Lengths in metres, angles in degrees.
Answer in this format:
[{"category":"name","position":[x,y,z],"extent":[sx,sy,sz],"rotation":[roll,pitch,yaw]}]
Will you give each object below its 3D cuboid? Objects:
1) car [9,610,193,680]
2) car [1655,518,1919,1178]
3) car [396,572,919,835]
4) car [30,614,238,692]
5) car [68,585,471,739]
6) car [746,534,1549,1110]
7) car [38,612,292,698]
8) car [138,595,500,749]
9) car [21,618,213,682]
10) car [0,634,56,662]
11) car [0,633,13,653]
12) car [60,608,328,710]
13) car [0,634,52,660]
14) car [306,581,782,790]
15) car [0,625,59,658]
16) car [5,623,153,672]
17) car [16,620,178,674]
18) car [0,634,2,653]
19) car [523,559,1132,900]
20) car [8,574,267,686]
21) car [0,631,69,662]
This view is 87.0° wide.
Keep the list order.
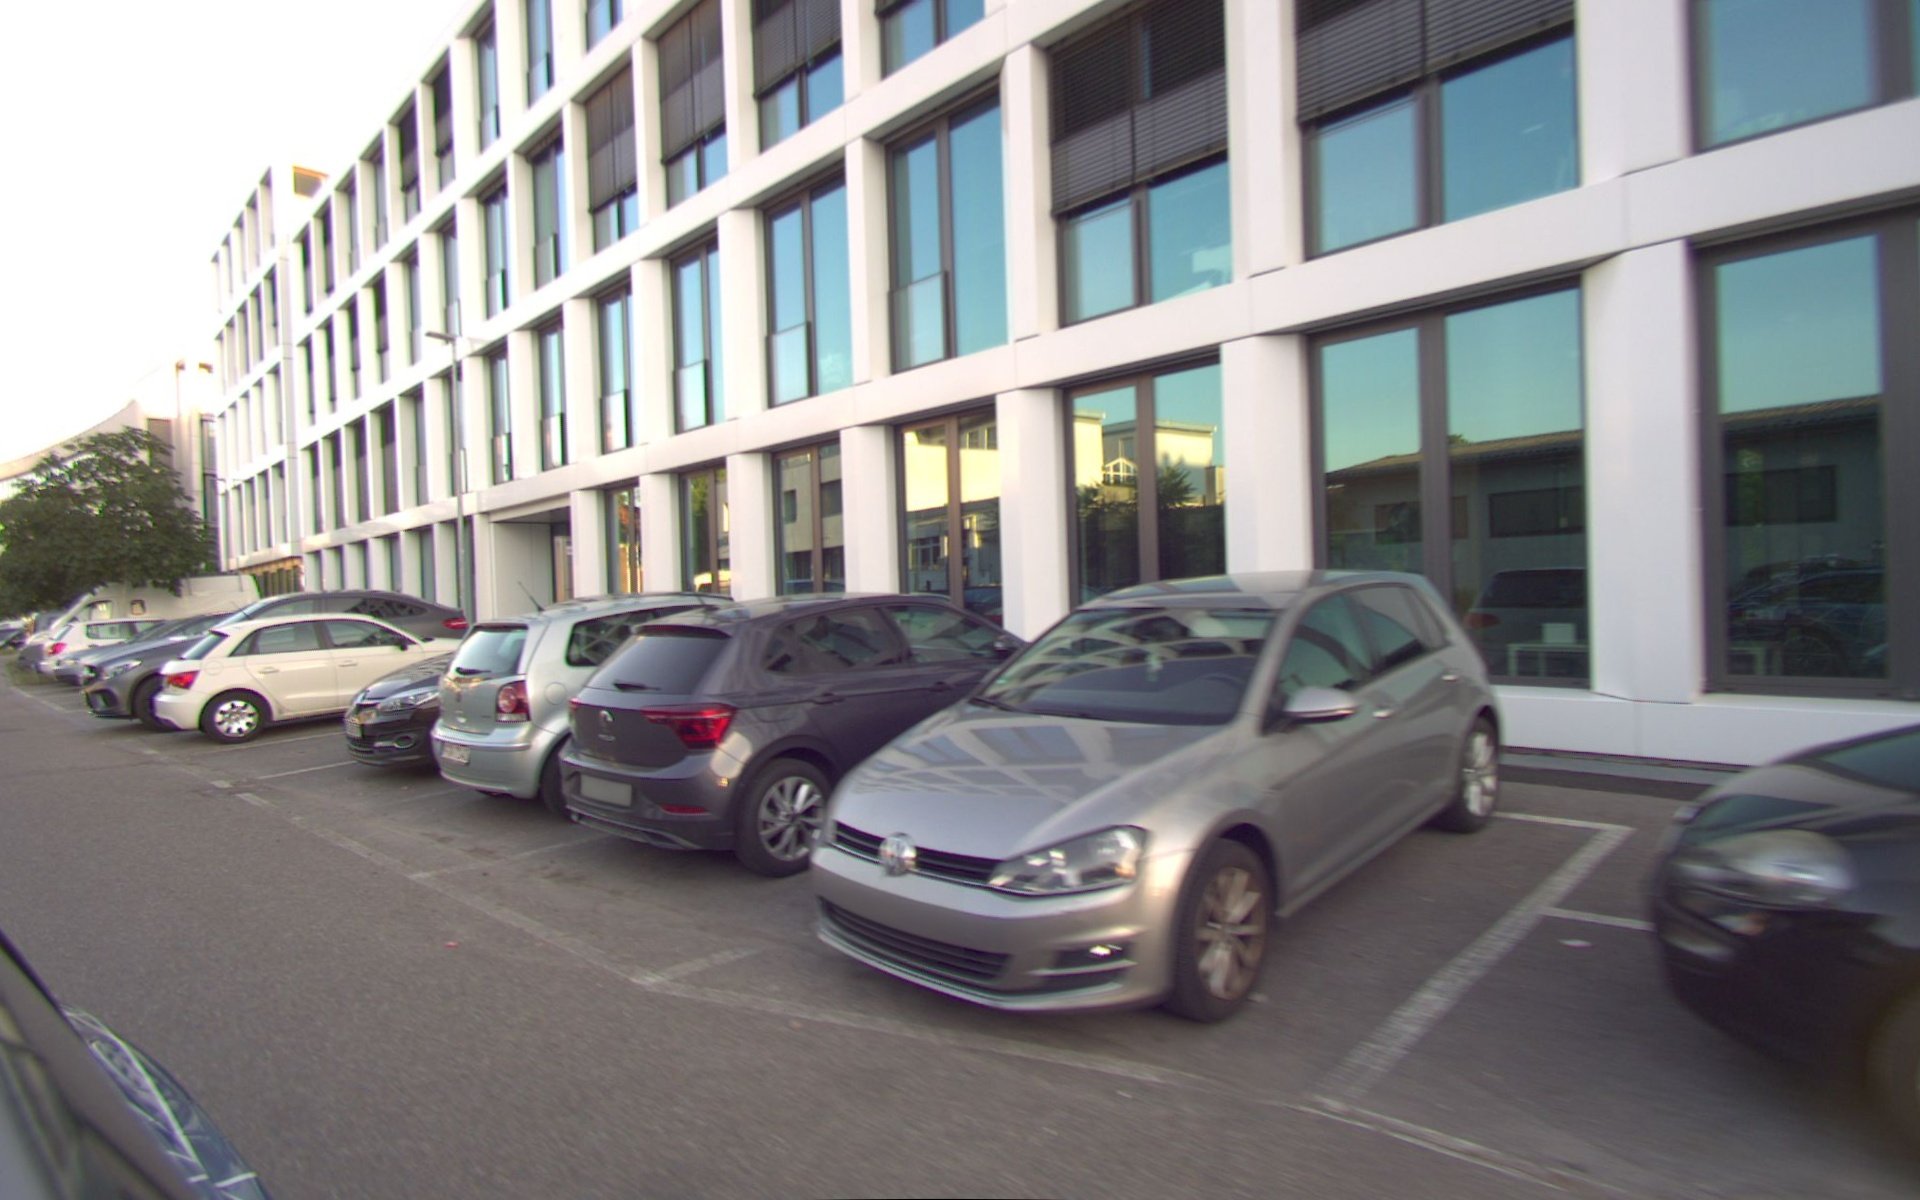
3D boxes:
[{"category":"car","position":[-26.683,1.357,31.549],"extent":[1.815,1.830,4.067],"rotation":[-3,1,40]},{"category":"car","position":[3.878,0.479,1.728],"extent":[4.202,1.449,1.630],"rotation":[-2,4,44]},{"category":"car","position":[-2.257,0.633,8.148],"extent":[1.688,1.522,3.614],"rotation":[-3,1,44]},{"category":"car","position":[-19.816,1.221,24.374],"extent":[1.708,1.506,3.667],"rotation":[-3,1,44]},{"category":"car","position":[-9.920,0.769,14.780],"extent":[4.564,1.719,2.007],"rotation":[-4,1,-43]},{"category":"car","position":[1.174,0.528,4.667],"extent":[1.688,1.522,3.882],"rotation":[-3,1,45]},{"category":"car","position":[-17.741,1.163,22.714],"extent":[4.259,1.506,1.796],"rotation":[-4,1,-45]},{"category":"car","position":[-8.112,0.813,12.982],"extent":[3.623,1.522,1.698],"rotation":[-4,1,-43]},{"category":"car","position":[-24.851,1.438,29.951],"extent":[1.773,1.510,4.067],"rotation":[-3,1,40]},{"category":"car","position":[-58.274,2.993,62.351],"extent":[1.726,1.435,3.606],"rotation":[-2,2,43]},{"category":"car","position":[-69.918,3.225,71.768],"extent":[1.797,1.370,3.767],"rotation":[-2,2,38]},{"category":"car","position":[-14.310,1.036,19.051],"extent":[1.693,1.533,3.741],"rotation":[-3,1,42]},{"category":"car","position":[-60.176,3.036,64.192],"extent":[1.725,1.435,3.608],"rotation":[-2,2,42]},{"category":"car","position":[-3.947,0.680,10.028],"extent":[3.919,1.522,1.797],"rotation":[-4,1,-45]},{"category":"car","position":[-62.267,2.797,65.885],"extent":[1.886,1.894,5.022],"rotation":[-2,2,37]},{"category":"car","position":[-33.916,1.784,39.037],"extent":[1.845,1.530,4.064],"rotation":[-3,1,42]},{"category":"car","position":[-29.990,1.595,35.251],"extent":[1.781,1.530,4.063],"rotation":[-3,1,43]},{"category":"car","position":[-72.129,3.324,73.259],"extent":[1.797,1.370,3.767],"rotation":[-2,2,38]},{"category":"car","position":[-0.653,0.579,6.600],"extent":[1.688,1.522,3.614],"rotation":[-3,1,44]},{"category":"car","position":[-22.716,0.740,28.125],"extent":[2.079,2.652,5.320],"rotation":[-3,1,45]},{"category":"car","position":[-56.083,2.811,60.816],"extent":[1.726,1.559,3.606],"rotation":[-2,2,43]}]
